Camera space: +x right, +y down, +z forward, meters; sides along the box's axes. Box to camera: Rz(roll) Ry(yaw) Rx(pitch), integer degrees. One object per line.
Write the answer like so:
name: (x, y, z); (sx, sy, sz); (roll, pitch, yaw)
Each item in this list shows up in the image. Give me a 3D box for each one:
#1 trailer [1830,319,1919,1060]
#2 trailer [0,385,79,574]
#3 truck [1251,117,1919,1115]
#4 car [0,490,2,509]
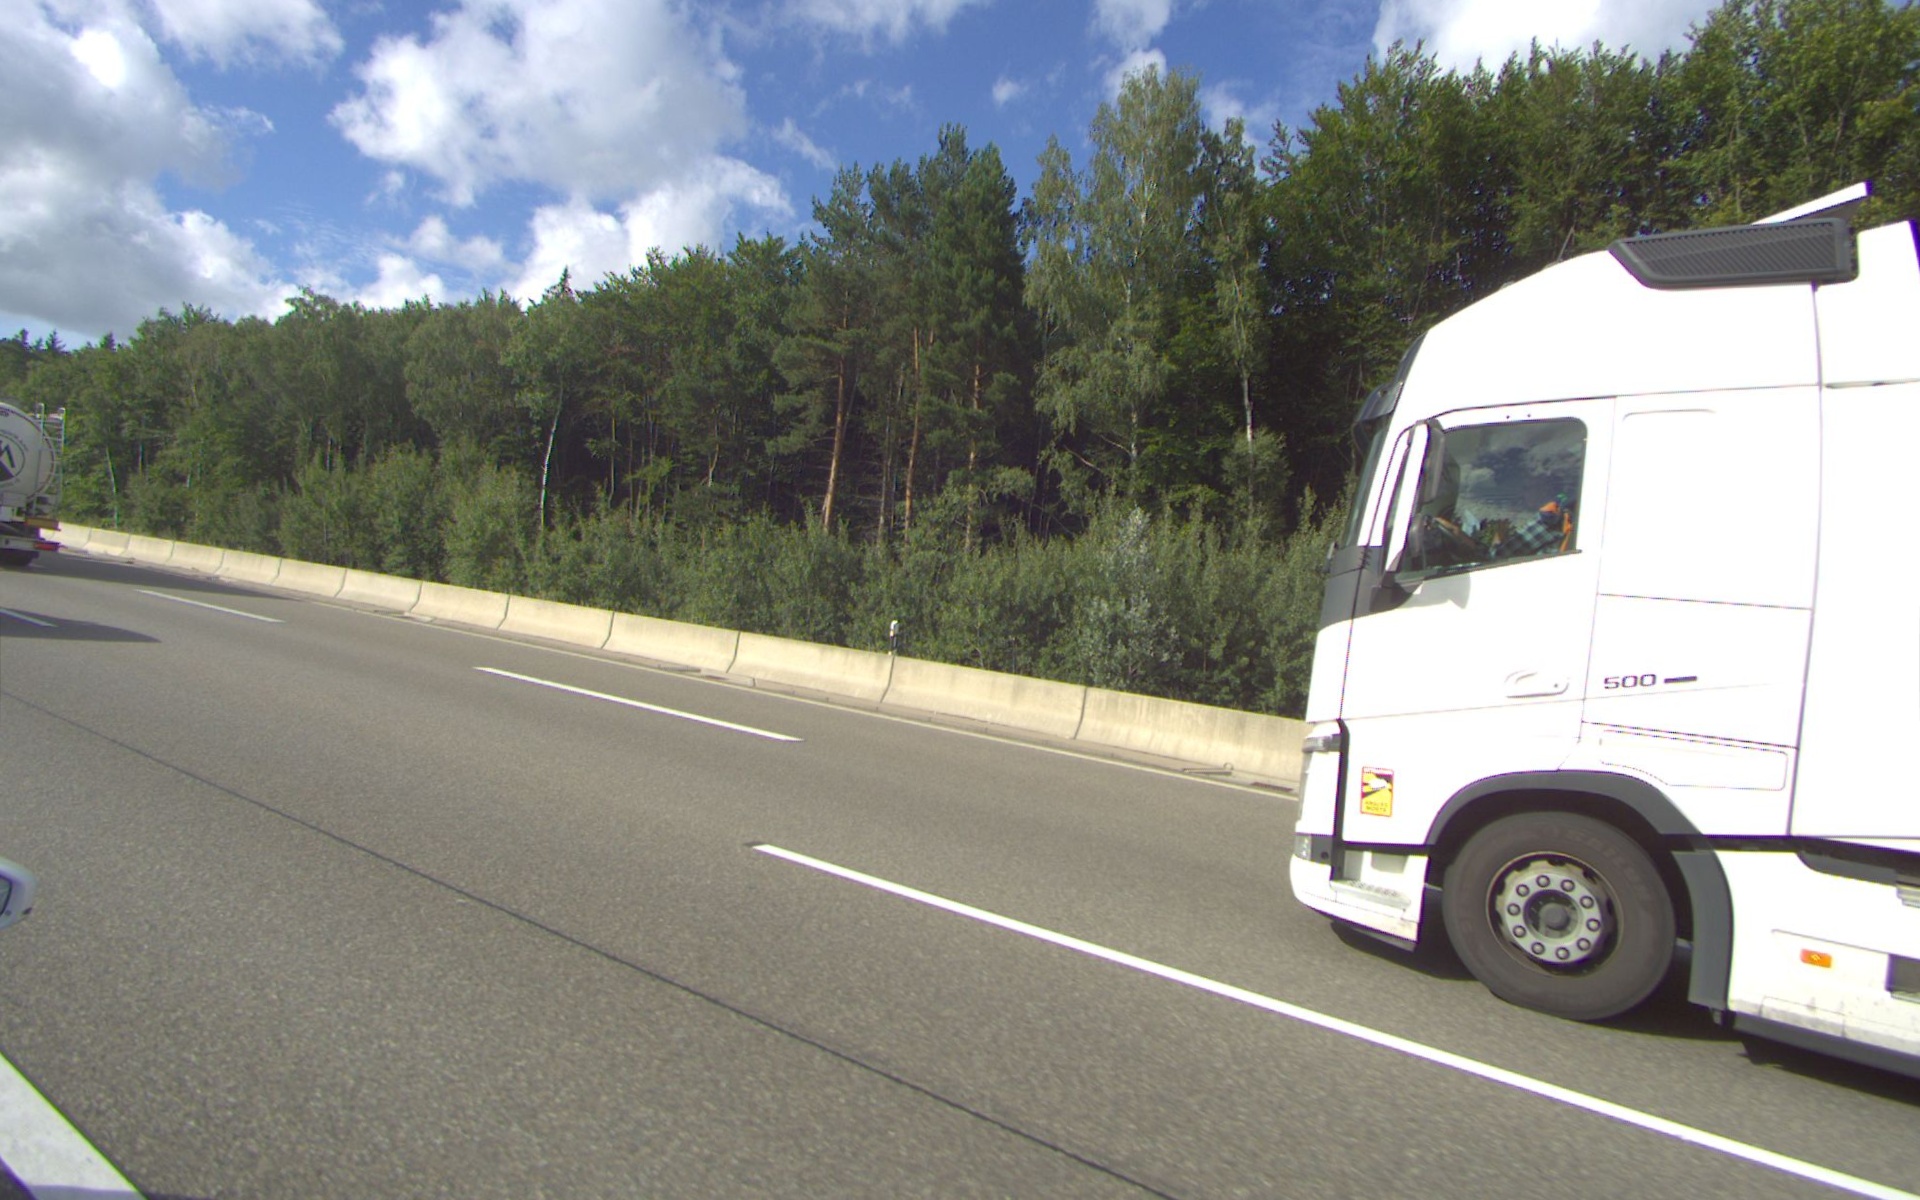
trailer: (10.753, 0.888, 1.628); (13.483, 4.094, 2.779); (7, -1, 31)
trailer: (-24.939, -3.130, 24.016); (11.668, 3.813, 2.651); (7, 0, 33)
truck: (4.930, 0.175, 5.162); (5.676, 4.094, 2.779); (7, -1, 31)
car: (-13.022, -0.746, 11.578); (4.384, 1.548, 1.776); (7, -1, 32)
